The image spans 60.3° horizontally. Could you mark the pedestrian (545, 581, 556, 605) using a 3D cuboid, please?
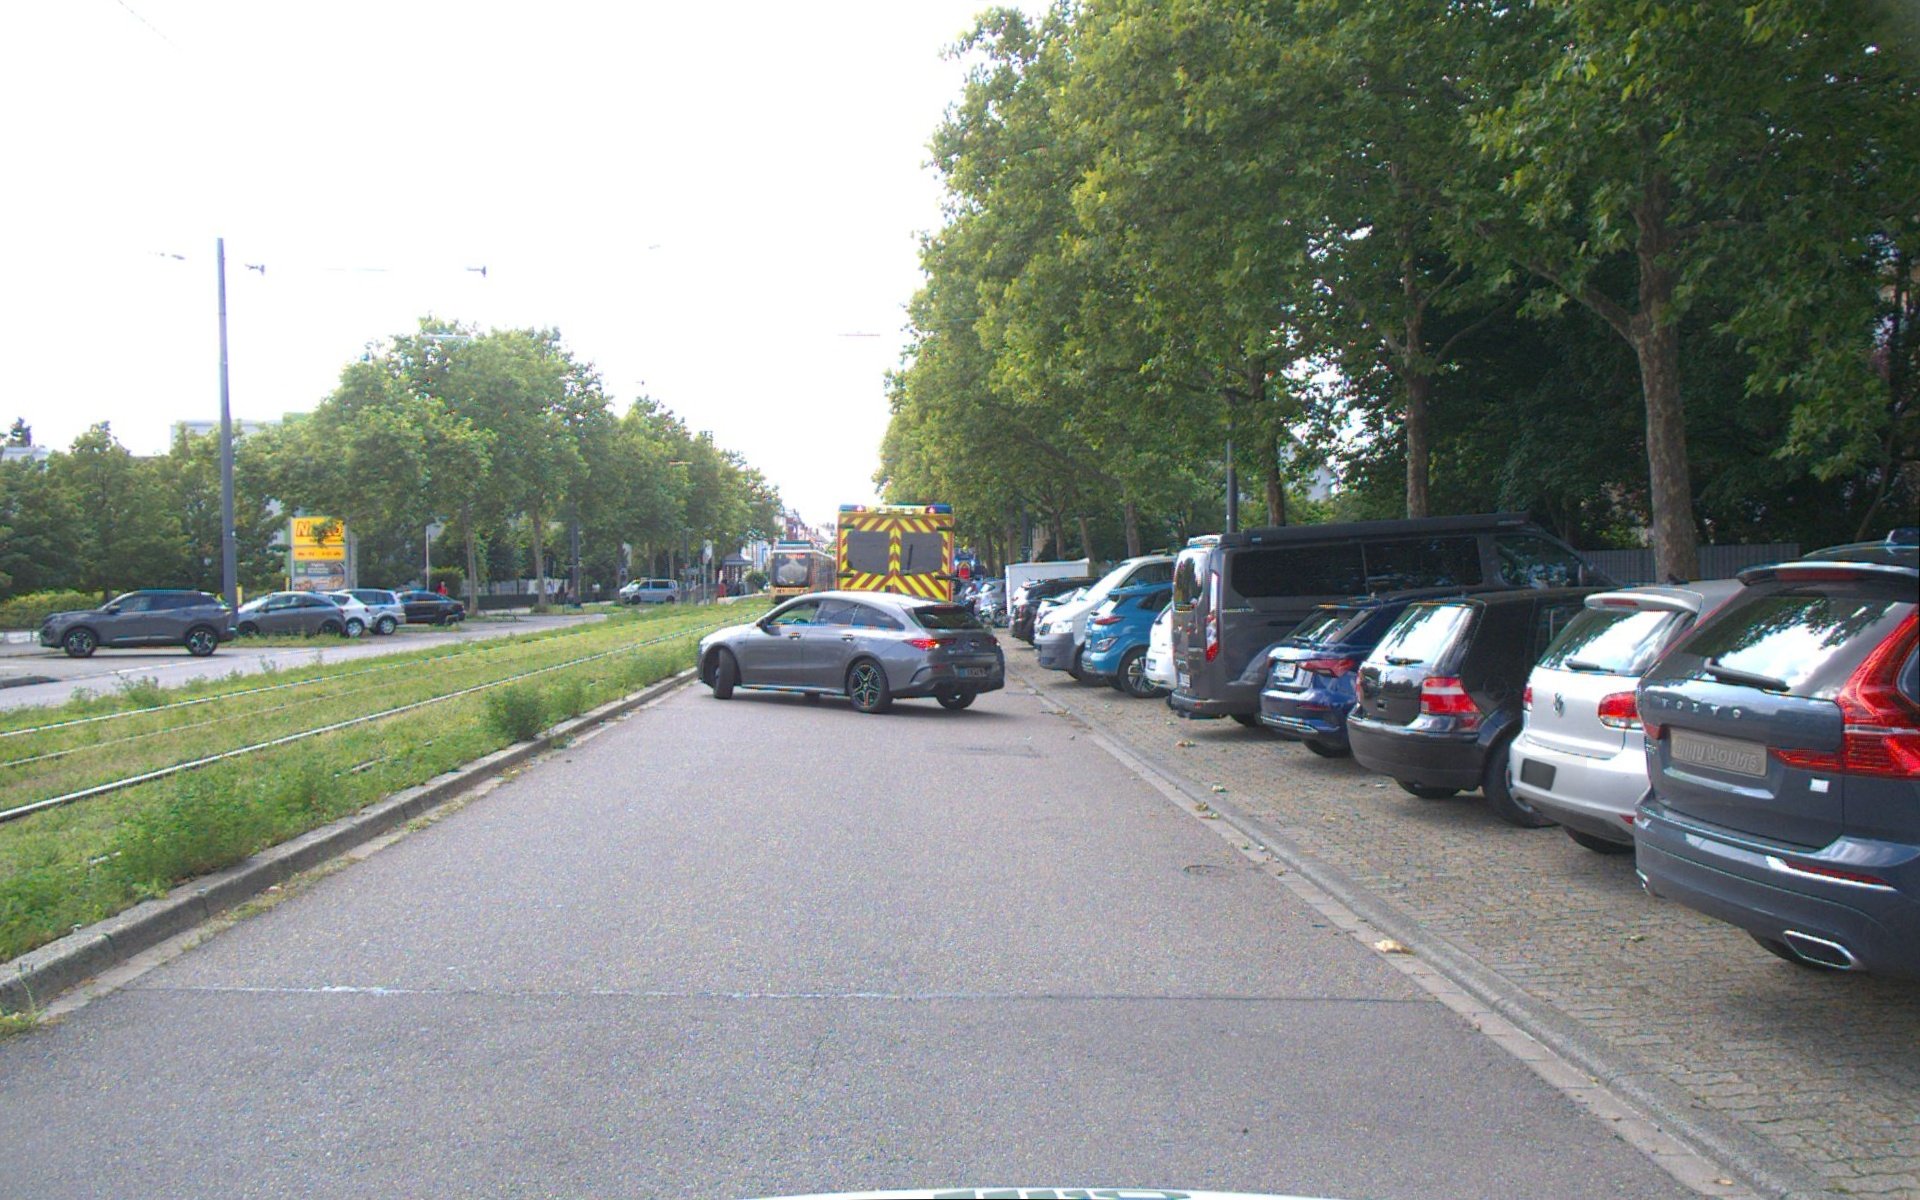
[{"bbox_3d":[-27.661,-0.472,111.628,0.620,1.578,0.621,-1,0,-5],"label":"pedestrian"}]

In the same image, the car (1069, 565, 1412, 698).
[{"bbox_3d":[3.932,0.413,23.572,4.459,1.689,1.853,-2,0,-7],"label":"car"}]

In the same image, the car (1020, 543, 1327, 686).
[{"bbox_3d":[3.311,0.200,26.081,4.458,2.035,1.853,-2,0,-7],"label":"car"}]

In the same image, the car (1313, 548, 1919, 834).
[{"bbox_3d":[4.573,0.521,11.178,3.897,1.633,1.750,-2,0,-13],"label":"car"}]

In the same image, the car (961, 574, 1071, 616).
[{"bbox_3d":[2.356,-0.219,70.697,4.458,1.636,1.853,-2,0,-7],"label":"car"}]

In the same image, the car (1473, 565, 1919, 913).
[{"bbox_3d":[4.860,0.588,8.462,3.887,1.520,1.755,-2,0,-3],"label":"car"}]

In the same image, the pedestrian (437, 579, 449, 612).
[{"bbox_3d":[-26.627,-0.250,85.229,0.457,1.706,0.603,-1,0,-4],"label":"pedestrian"}]

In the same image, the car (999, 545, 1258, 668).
[{"bbox_3d":[3.078,0.093,30.668,4.458,2.079,1.853,-2,0,-7],"label":"car"}]

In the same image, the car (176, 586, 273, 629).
[{"bbox_3d":[-32.495,0.309,73.067,3.912,1.780,1.997,2,1,29],"label":"car"}]

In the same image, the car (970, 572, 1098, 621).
[{"bbox_3d":[2.695,-0.130,60.856,4.458,1.636,1.853,-2,0,-7],"label":"car"}]

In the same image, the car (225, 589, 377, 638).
[{"bbox_3d":[-21.077,0.417,52.967,4.192,1.508,1.857,0,0,-39],"label":"car"}]

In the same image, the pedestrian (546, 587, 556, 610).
[{"bbox_3d":[-25.737,-0.079,104.128,0.412,1.439,0.467,-1,0,22],"label":"pedestrian"}]

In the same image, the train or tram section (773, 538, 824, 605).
[{"bbox_3d":[-9.304,-1.606,96.100,2.462,3.646,7.441,-2,0,-3],"label":"train or tram section"}]

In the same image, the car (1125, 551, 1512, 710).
[{"bbox_3d":[4.474,0.357,21.061,4.455,1.797,1.855,-2,0,-3],"label":"car"}]

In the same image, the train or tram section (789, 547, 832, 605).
[{"bbox_3d":[-9.975,-1.547,110.965,2.462,3.646,7.441,-2,0,-3],"label":"train or tram section"}]

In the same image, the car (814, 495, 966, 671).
[{"bbox_3d":[-1.282,-0.315,32.501,2.588,3.018,6.298,2,0,-1],"label":"car"}]

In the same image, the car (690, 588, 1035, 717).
[{"bbox_3d":[-1.322,0.602,21.145,4.385,1.409,1.757,2,0,40],"label":"car"}]

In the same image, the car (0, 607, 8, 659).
[{"bbox_3d":[-31.172,0.962,49.806,3.905,1.592,1.777,1,0,0],"label":"car"}]

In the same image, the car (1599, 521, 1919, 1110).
[{"bbox_3d":[4.664,0.544,5.607,4.292,1.668,1.756,-2,0,-1],"label":"car"}]

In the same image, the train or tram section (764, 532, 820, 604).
[{"bbox_3d":[-8.957,-1.635,88.679,2.462,3.646,7.441,-2,0,-3],"label":"train or tram section"}]

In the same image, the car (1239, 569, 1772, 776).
[{"bbox_3d":[4.493,0.565,13.991,3.887,1.520,1.755,-2,0,-3],"label":"car"}]

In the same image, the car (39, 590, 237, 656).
[{"bbox_3d":[-19.807,0.532,39.976,4.172,1.508,1.867,0,0,-28],"label":"car"}]

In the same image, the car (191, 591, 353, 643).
[{"bbox_3d":[-20.802,0.481,50.069,4.192,1.508,1.857,0,0,-39],"label":"car"}]

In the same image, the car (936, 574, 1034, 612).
[{"bbox_3d":[1.191,-0.336,78.885,4.458,1.636,1.853,-2,0,-7],"label":"car"}]

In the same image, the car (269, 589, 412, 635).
[{"bbox_3d":[-20.955,0.383,55.999,4.192,1.508,1.857,0,0,-39],"label":"car"}]

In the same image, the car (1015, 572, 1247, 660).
[{"bbox_3d":[3.491,0.306,34.161,4.458,1.636,1.853,-2,0,-7],"label":"car"}]

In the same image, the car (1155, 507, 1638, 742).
[{"bbox_3d":[4.408,0.224,17.131,4.455,2.160,1.855,-2,0,-3],"label":"car"}]

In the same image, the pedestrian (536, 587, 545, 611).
[{"bbox_3d":[-25.929,-0.048,102.242,0.413,1.499,0.467,-1,0,-7],"label":"pedestrian"}]

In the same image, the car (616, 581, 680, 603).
[{"bbox_3d":[-24.234,-0.609,128.633,4.588,1.661,1.855,-1,1,-42],"label":"car"}]

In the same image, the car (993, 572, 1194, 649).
[{"bbox_3d":[3.136,0.234,39.305,4.458,1.636,1.853,-2,0,-7],"label":"car"}]

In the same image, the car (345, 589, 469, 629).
[{"bbox_3d":[-21.446,0.344,64.187,4.199,1.508,1.854,0,0,-42],"label":"car"}]

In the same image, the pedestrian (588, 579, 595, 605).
[{"bbox_3d":[-27.451,-0.599,123.215,0.457,1.860,0.422,-1,0,-4],"label":"pedestrian"}]

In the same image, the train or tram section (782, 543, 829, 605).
[{"bbox_3d":[-9.643,-1.576,103.534,2.462,3.646,7.441,-2,0,-3],"label":"train or tram section"}]
